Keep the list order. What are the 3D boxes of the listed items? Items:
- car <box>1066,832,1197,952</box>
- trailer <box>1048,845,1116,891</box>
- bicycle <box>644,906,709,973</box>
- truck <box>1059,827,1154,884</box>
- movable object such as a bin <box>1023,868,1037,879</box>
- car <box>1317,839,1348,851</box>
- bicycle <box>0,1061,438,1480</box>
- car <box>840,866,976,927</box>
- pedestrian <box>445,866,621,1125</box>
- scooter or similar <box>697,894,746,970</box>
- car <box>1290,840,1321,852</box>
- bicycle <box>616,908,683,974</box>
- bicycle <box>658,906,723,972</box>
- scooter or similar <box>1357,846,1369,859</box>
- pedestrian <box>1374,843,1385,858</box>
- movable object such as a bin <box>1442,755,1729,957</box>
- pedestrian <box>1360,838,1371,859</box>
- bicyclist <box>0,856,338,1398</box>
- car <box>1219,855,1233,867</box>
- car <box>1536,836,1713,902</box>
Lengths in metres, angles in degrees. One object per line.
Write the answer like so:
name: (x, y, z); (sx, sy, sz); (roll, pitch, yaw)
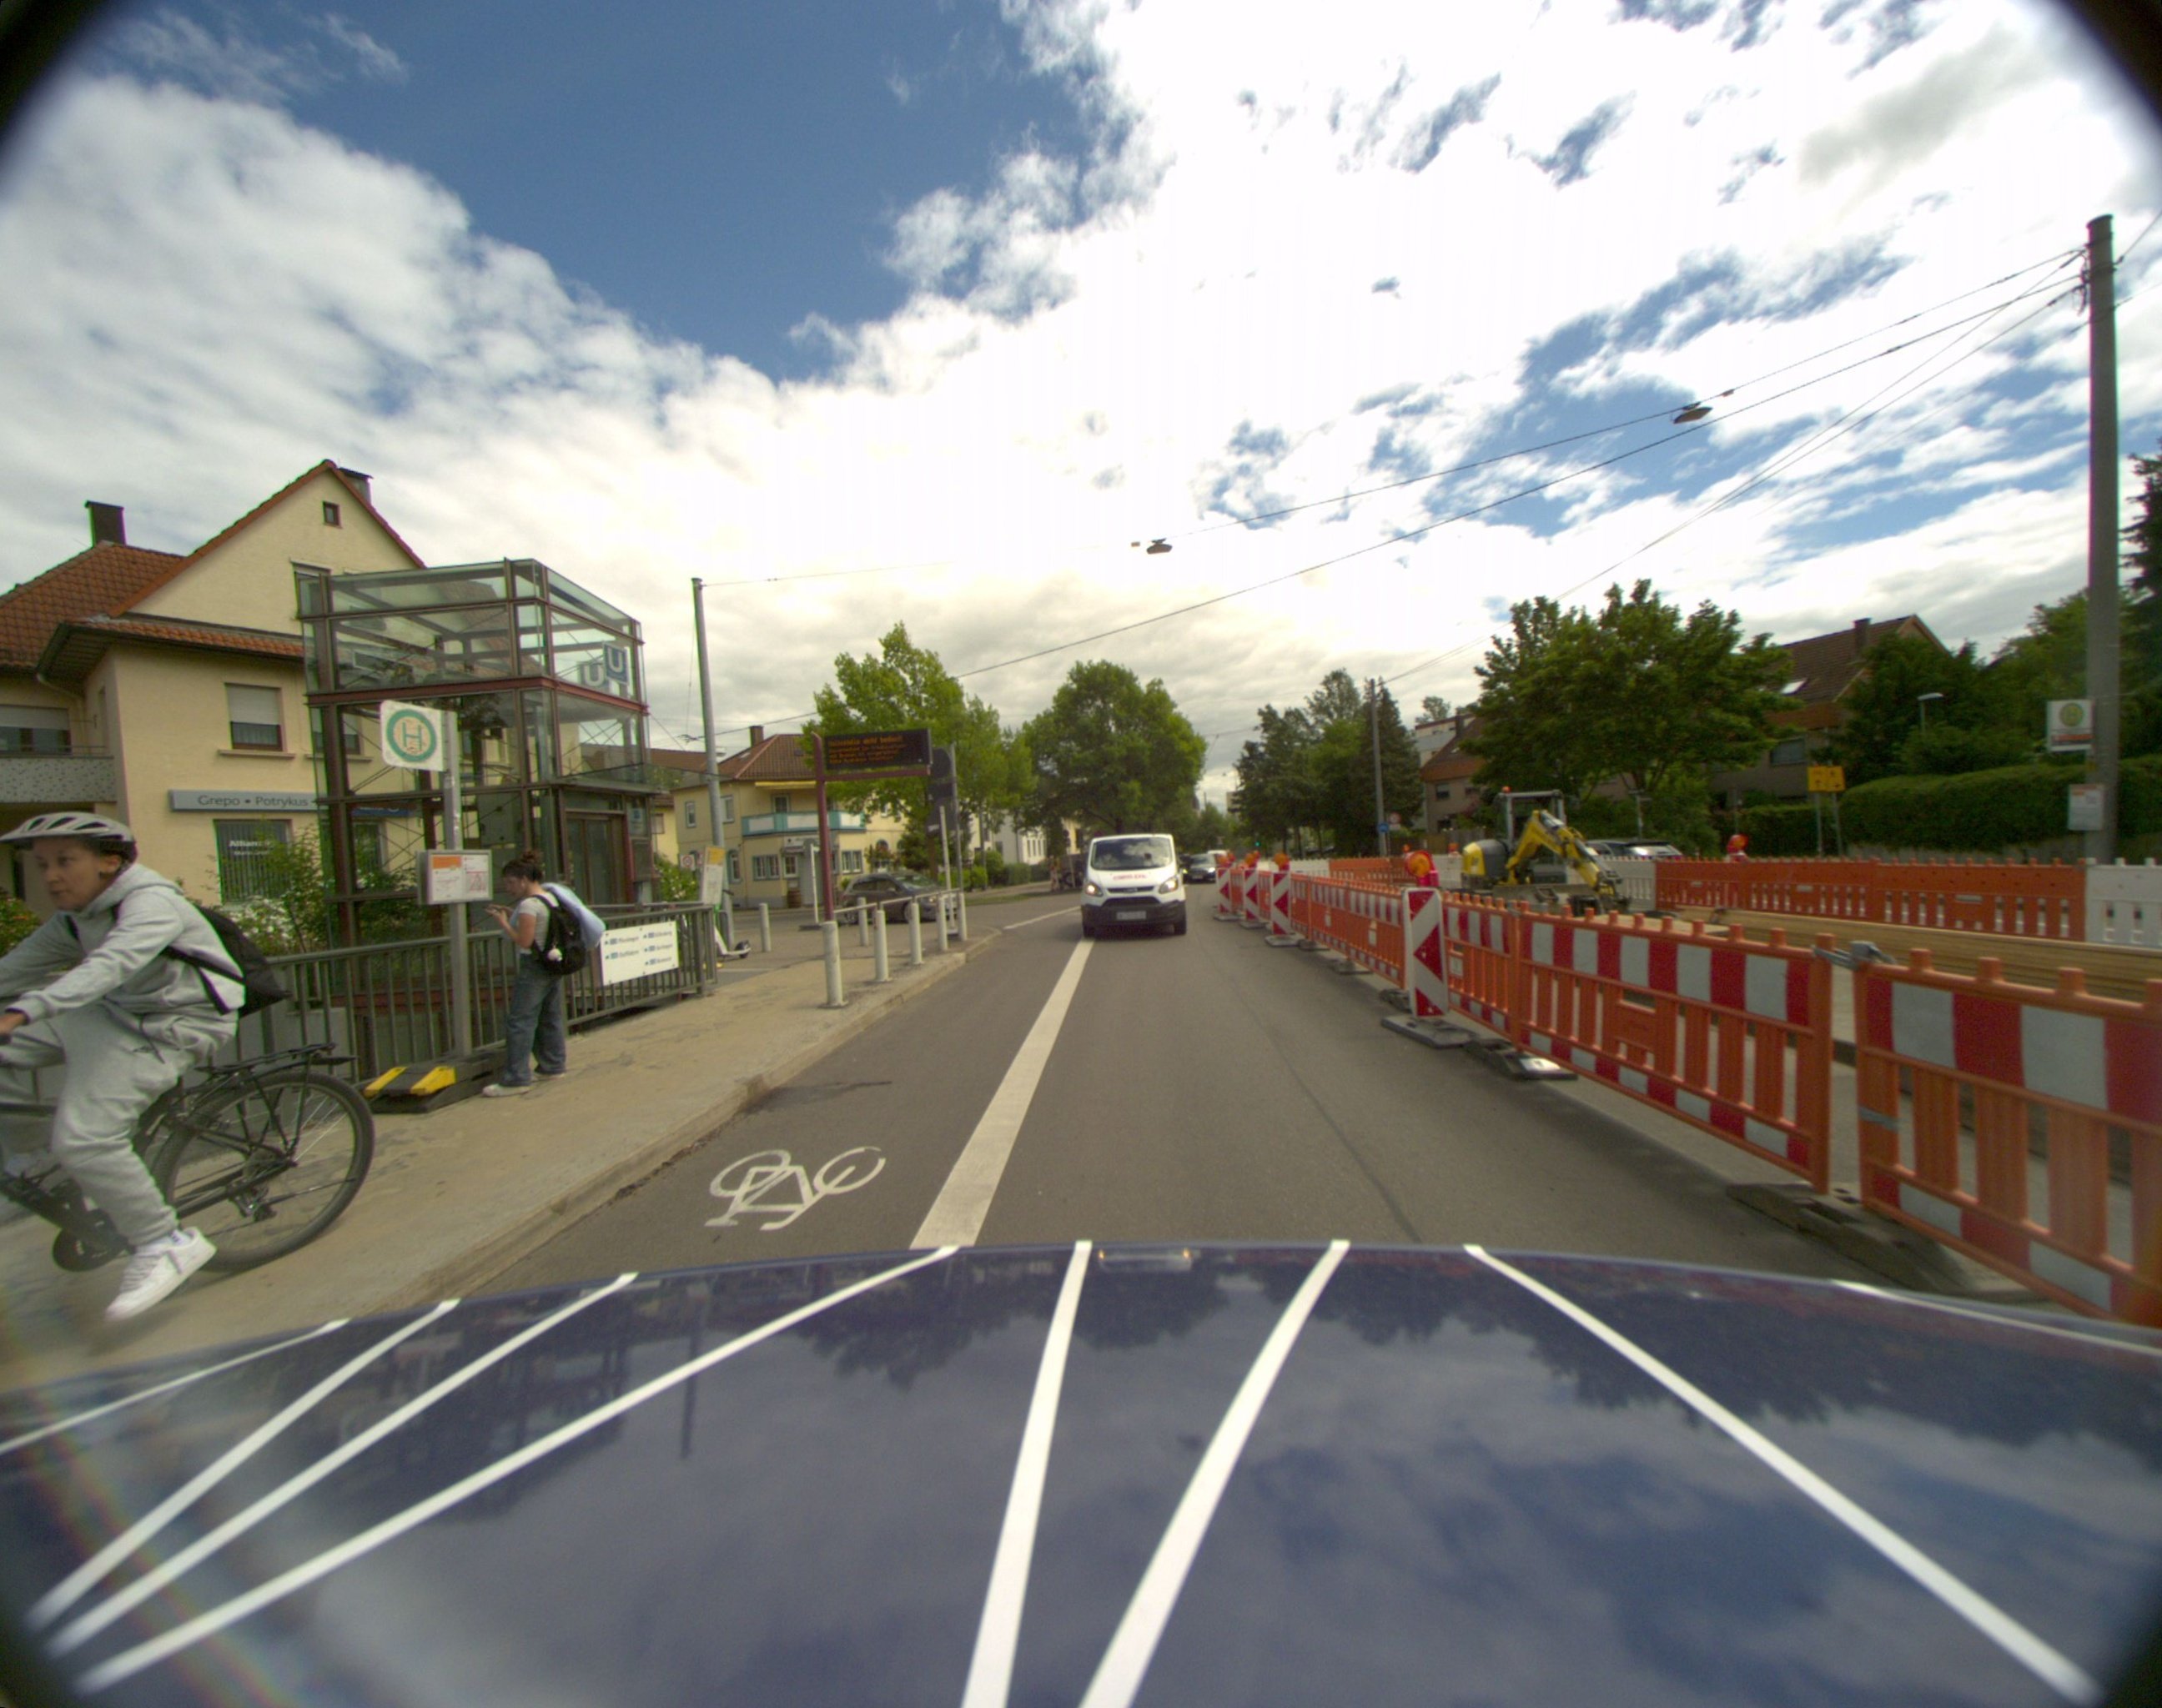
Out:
car: (1.295, 0.615, 16.203); (1.997, 2.002, 5.516); (-4, 1, 11)
trailer: (0.168, 0.732, 43.615); (2.597, 2.232, 5.678); (-6, 0, 12)
bicycle: (-6.966, 1.451, 13.123); (0.216, 1.008, 1.170); (-2, 1, 14)
truck: (1.601, 0.151, 51.371); (2.347, 3.178, 6.618); (-3, -3, -40)
movable object such as a bin: (-4.880, 1.850, 72.435); (1.121, 0.935, 0.823); (-4, 0, 11)
car: (38.615, -1.373, 116.519); (4.002, 1.499, 1.997); (-4, 0, -17)
bicycle: (-3.117, 1.263, 2.187); (0.637, 0.749, 2.063); (-4, 0, 4)
car: (-5.386, 1.327, 23.471); (3.990, 1.615, 1.873); (-5, 0, 37)
pedestrian: (-3.606, 0.912, 5.035); (0.599, 1.574, 0.401); (-9, 2, 4)
scooter or similar: (-5.575, 1.188, 11.805); (0.216, 1.105, 0.947); (-2, -2, 5)
car: (33.994, -1.159, 114.848); (4.003, 1.499, 1.997); (-4, 0, -19)
bicycle: (-7.508, 1.493, 13.278); (0.216, 1.003, 1.190); (-2, 1, 14)
bicycle: (-6.702, 1.442, 13.086); (0.216, 0.995, 1.208); (-2, 1, 14)
scooter or similar: (20.870, -0.119, 56.279); (0.637, 0.859, 1.031); (-4, 0, 10)
pedestrian: (21.761, -0.275, 55.390); (0.555, 1.080, 0.642); (-4, 0, 9)
movable object such as a bin: (8.211, 0.008, 13.320); (1.996, 2.610, 6.528); (-2, 0, 14)
pedestrian: (20.722, -0.399, 55.441); (0.555, 1.472, 0.642); (-4, 1, 9)
bicyclist: (-3.157, 0.730, 2.235); (0.657, 1.407, 1.179); (-4, 0, 4)
car: (19.178, 0.928, 100.592); (1.696, 1.504, 4.003); (-2, 0, 10)
car: (14.292, 0.337, 20.338); (1.858, 1.504, 4.442); (-2, 0, 6)
